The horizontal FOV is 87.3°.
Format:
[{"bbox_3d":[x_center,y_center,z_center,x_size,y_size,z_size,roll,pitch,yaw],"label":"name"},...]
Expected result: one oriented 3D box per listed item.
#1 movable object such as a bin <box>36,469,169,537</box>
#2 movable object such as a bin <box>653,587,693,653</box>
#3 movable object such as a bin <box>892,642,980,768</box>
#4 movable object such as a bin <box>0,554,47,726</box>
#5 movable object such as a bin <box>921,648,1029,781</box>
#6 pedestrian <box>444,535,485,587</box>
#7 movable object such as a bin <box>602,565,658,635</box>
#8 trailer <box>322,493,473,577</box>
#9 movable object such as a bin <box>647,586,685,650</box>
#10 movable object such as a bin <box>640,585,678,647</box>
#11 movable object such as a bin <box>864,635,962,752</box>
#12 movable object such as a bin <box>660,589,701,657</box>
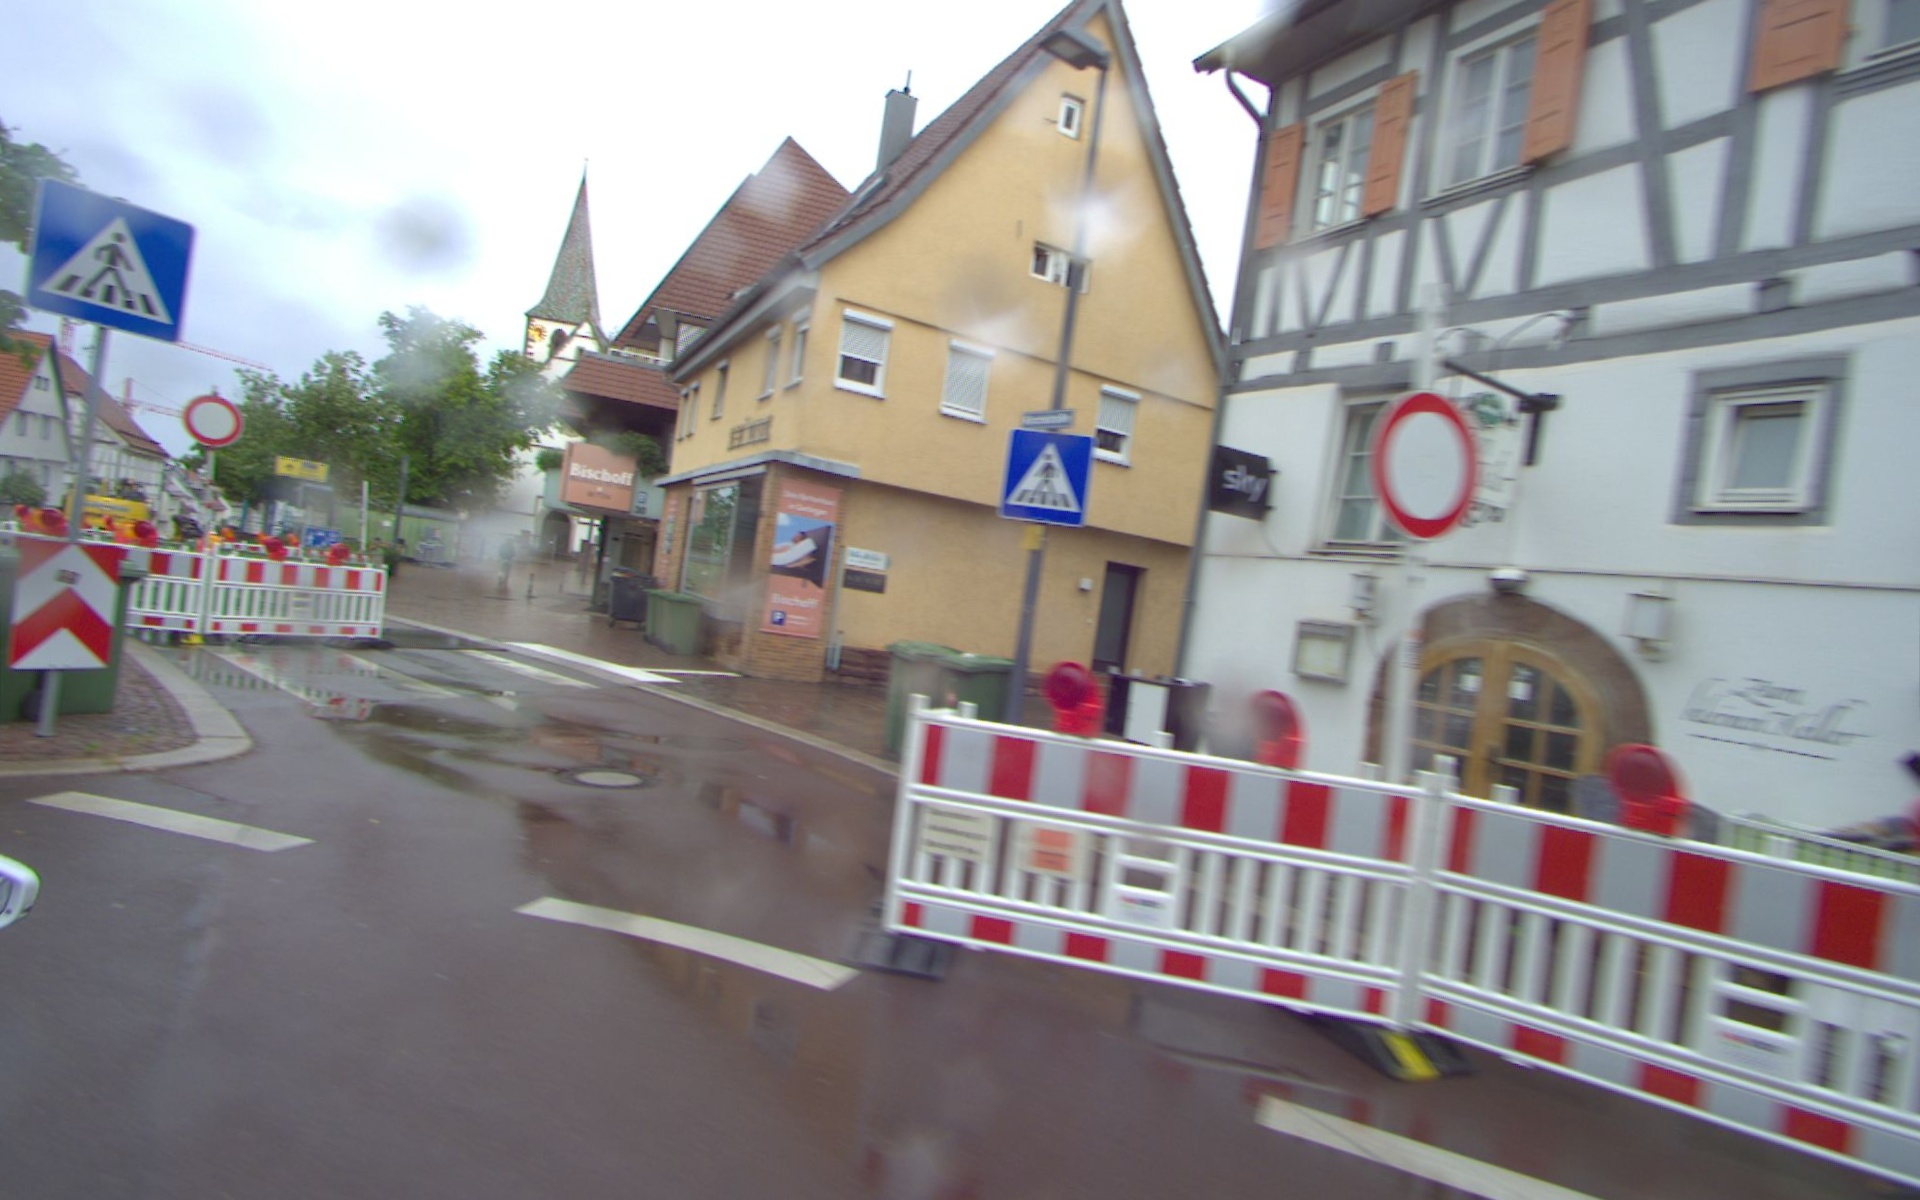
[{"bbox_3d":[-34.630,-3.850,40.808,3.380,2.037,3.450,9,-2,-32],"label":"movable object such as a bin"},{"bbox_3d":[-5.312,0.374,18.629,0.511,1.144,0.575,4,3,-29],"label":"movable object such as a bin"},{"bbox_3d":[-0.233,0.968,9.407,0.608,1.079,0.538,6,0,-16],"label":"movable object such as a bin"},{"bbox_3d":[-6.078,0.221,6.077,0.534,1.045,0.535,5,-1,0],"label":"movable object such as a bin"},{"bbox_3d":[0.130,1.002,8.871,0.675,1.079,0.534,6,0,-39],"label":"movable object such as a bin"},{"bbox_3d":[-18.294,-1.444,37.129,0.986,1.779,0.842,8,-1,-39],"label":"pedestrian"},{"bbox_3d":[-7.938,-0.005,24.173,1.055,1.532,1.234,4,2,-25],"label":"movable object such as a bin"},{"bbox_3d":[-26.765,-3.037,48.001,5.757,2.981,1.979,9,-2,-38],"label":"trailer"},{"bbox_3d":[-5.601,0.344,19.160,0.511,1.149,0.575,4,4,-29],"label":"movable object such as a bin"},{"bbox_3d":[-5.901,0.307,19.715,0.511,1.144,0.575,4,3,-29],"label":"movable object such as a bin"},{"bbox_3d":[-0.473,0.937,10.112,0.675,1.079,0.580,6,1,-38],"label":"movable object such as a bin"},{"bbox_3d":[-5.028,0.415,18.097,0.513,1.147,0.575,4,3,-29],"label":"movable object such as a bin"}]
